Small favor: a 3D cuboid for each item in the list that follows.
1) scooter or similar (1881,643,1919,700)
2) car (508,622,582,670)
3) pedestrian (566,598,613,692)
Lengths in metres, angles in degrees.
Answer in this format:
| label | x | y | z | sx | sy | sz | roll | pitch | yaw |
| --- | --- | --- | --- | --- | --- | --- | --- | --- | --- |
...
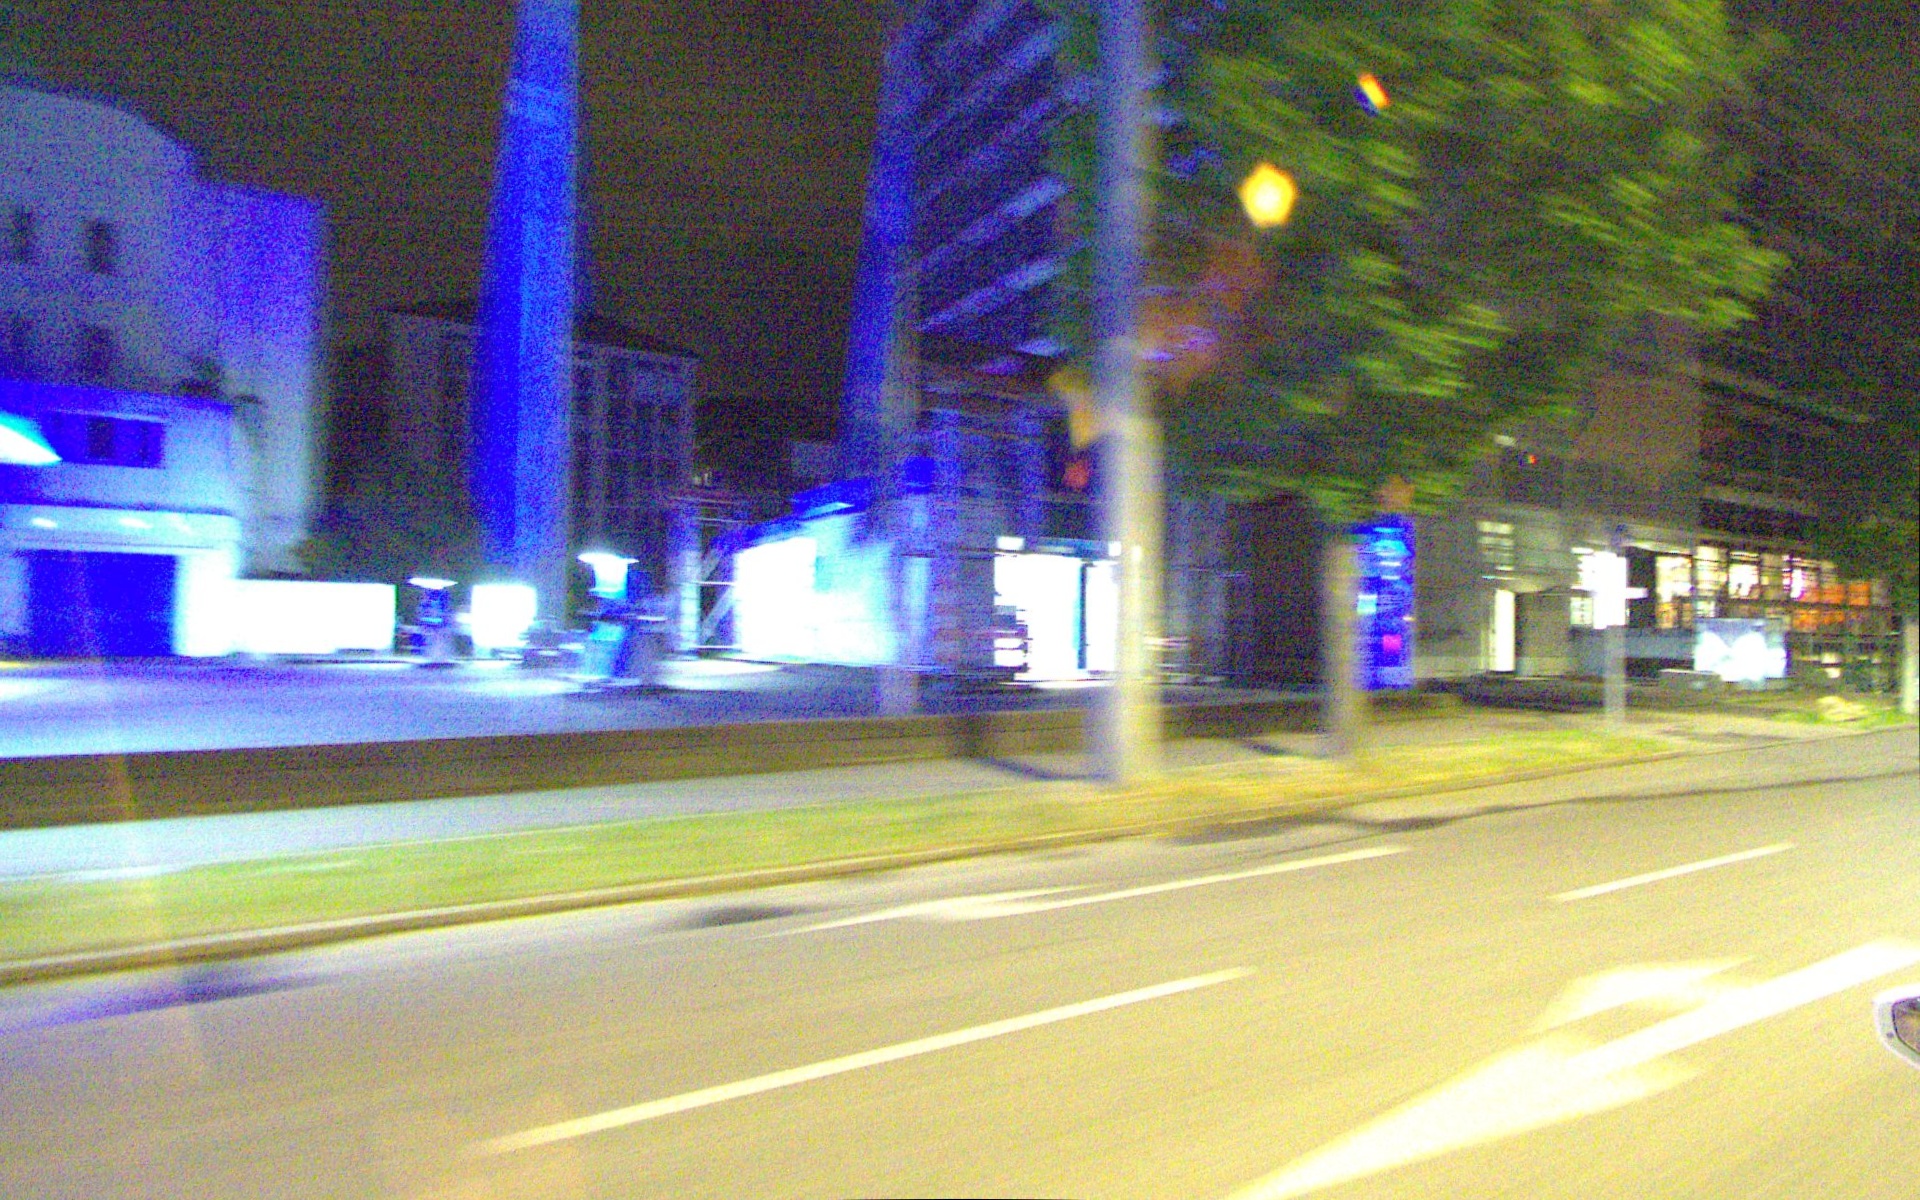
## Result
| label | x | y | z | sx | sy | sz | roll | pitch | yaw |
| --- | --- | --- | --- | --- | --- | --- | --- | --- | --- |
| scooter or similar | 20.679 | 1.553 | 21.986 | 1.411 | 1.220 | 0.365 | 2 | -2 | -31 |
| car | -11.934 | 1.276 | 28.807 | 1.556 | 1.282 | 3.132 | 1 | -1 | -30 |
| pedestrian | -6.530 | 0.787 | 17.700 | 0.636 | 1.627 | 0.572 | 1 | -1 | -32 |
